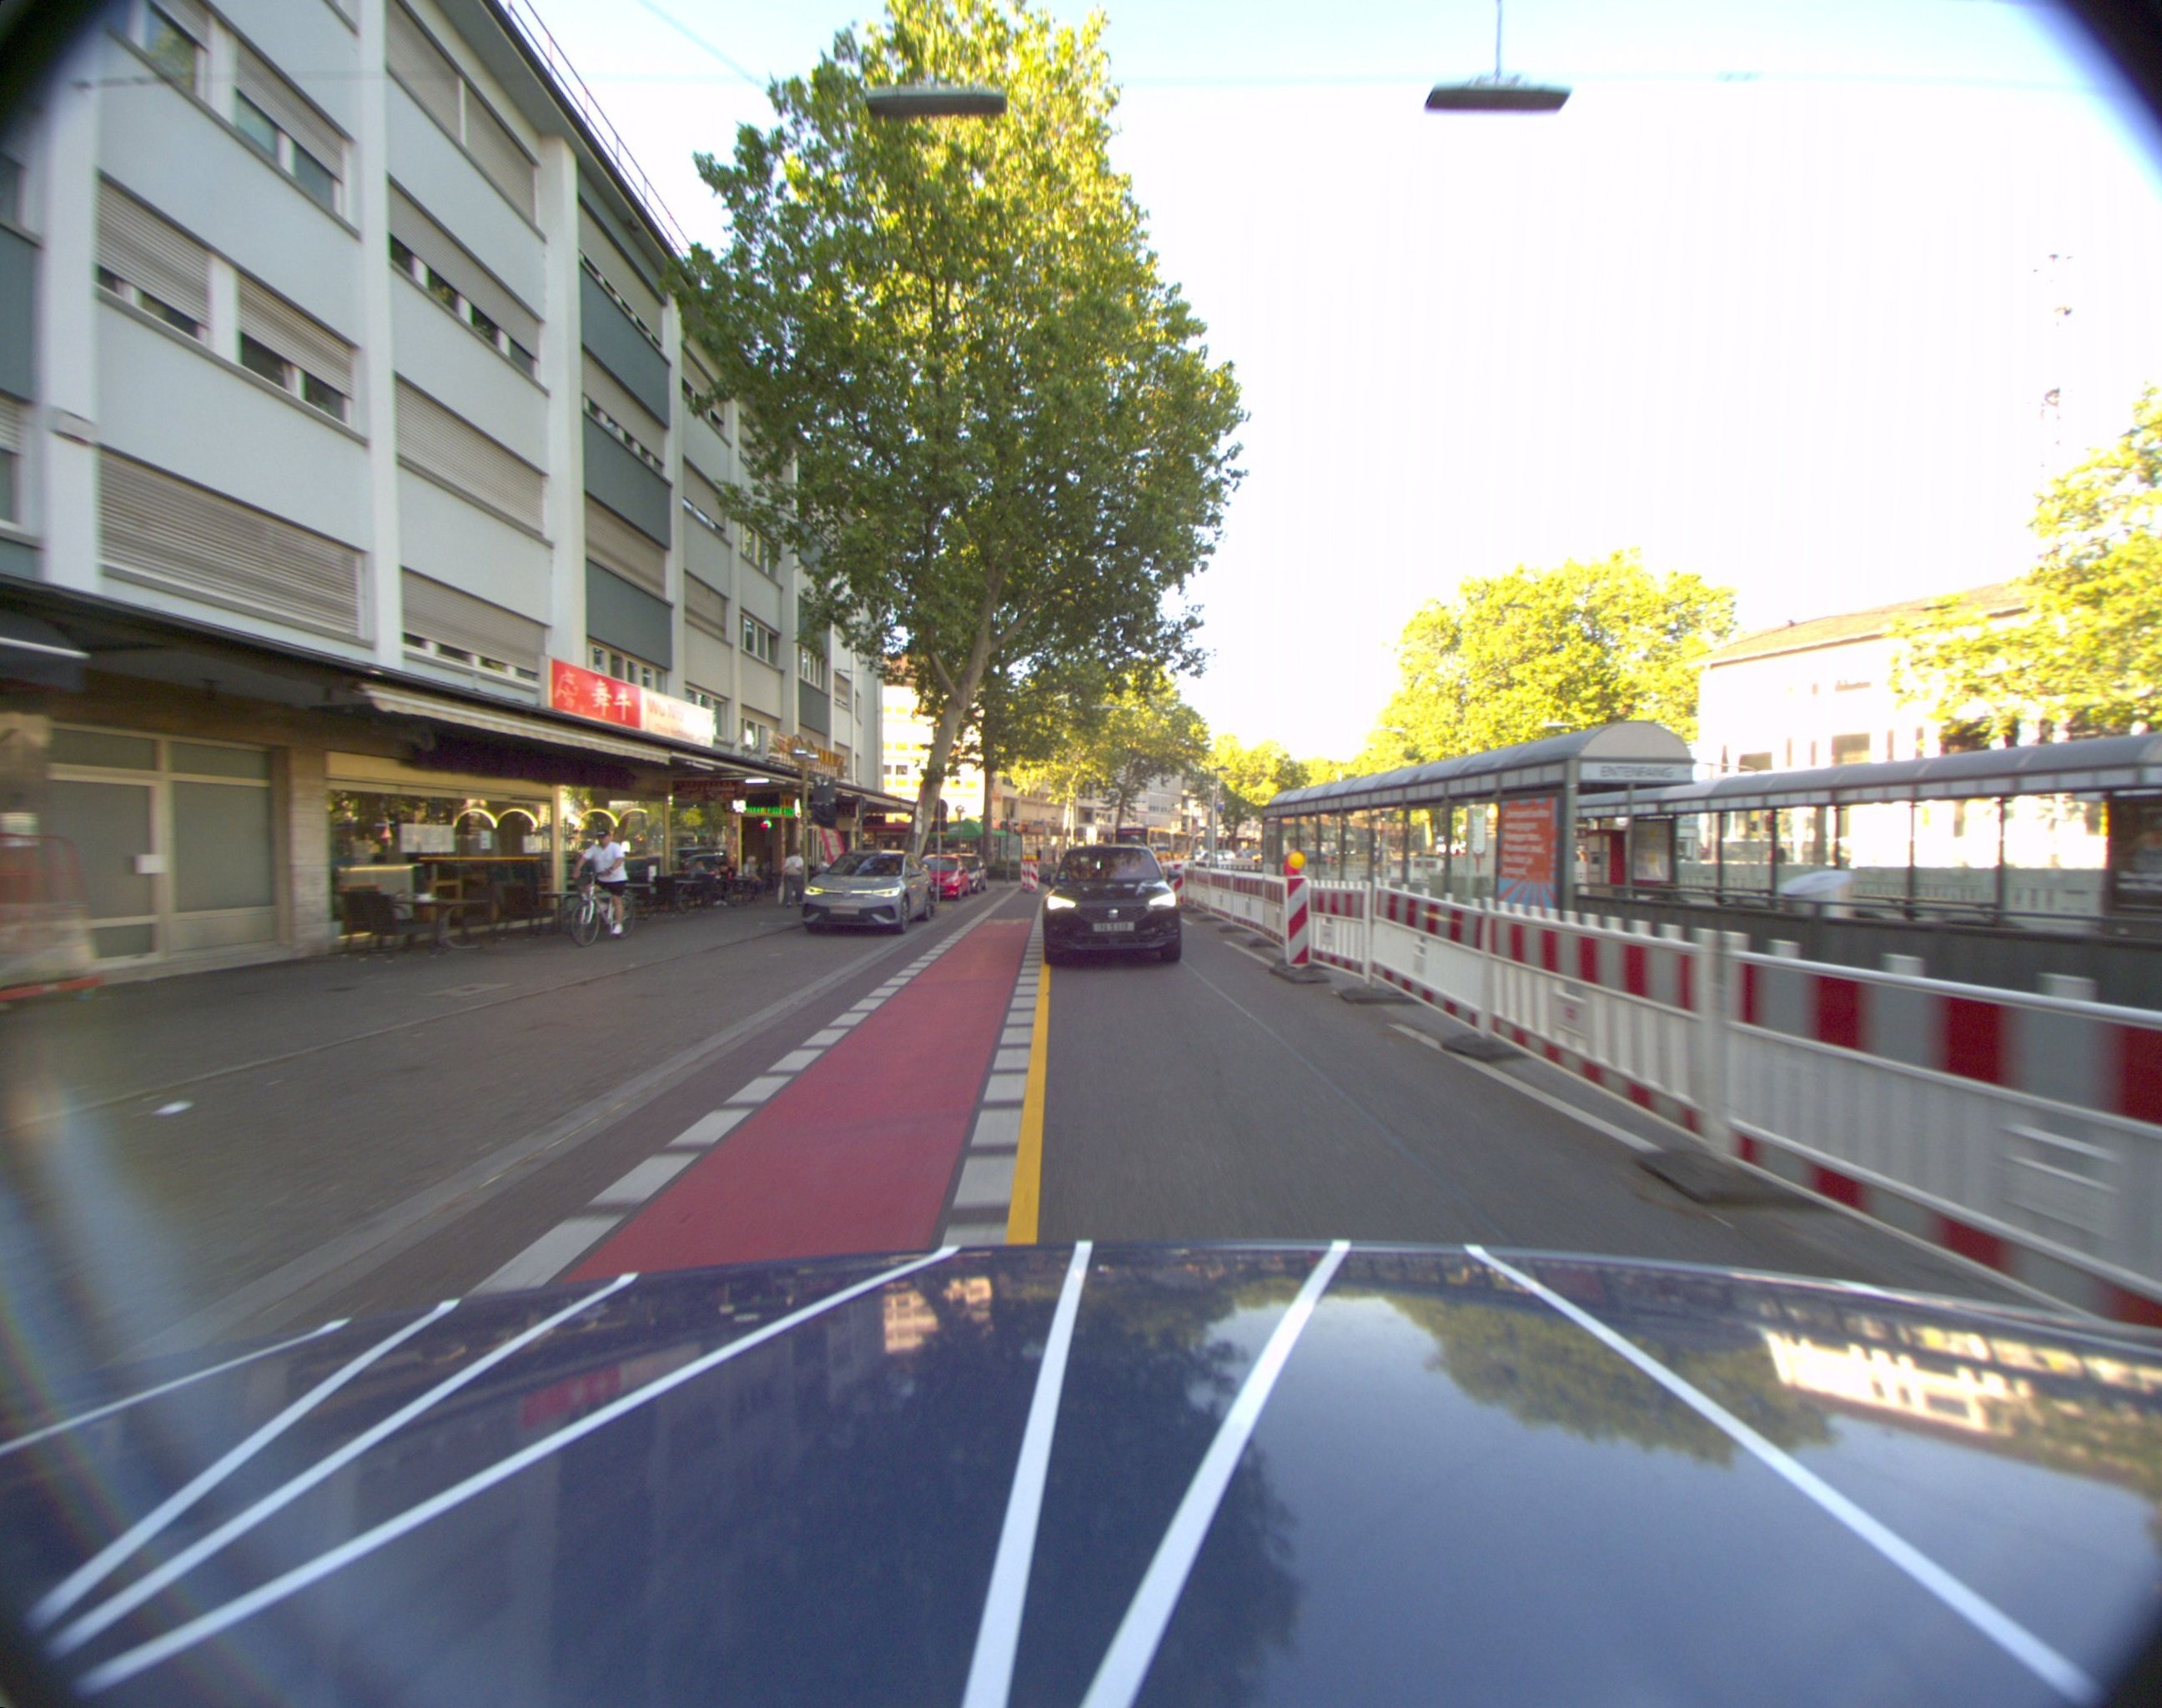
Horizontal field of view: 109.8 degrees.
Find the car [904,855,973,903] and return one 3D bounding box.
[{"bbox_3d":[-4.698,0.790,25.561,1.735,1.434,3.982,1,1,-2],"label":"car"}]

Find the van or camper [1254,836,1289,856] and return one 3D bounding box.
[{"bbox_3d":[24.224,-1.015,96.436,2.286,2.524,5.506,-1,1,37],"label":"van or camper"}]

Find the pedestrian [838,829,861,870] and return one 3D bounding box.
[{"bbox_3d":[-9.563,-0.189,31.414,0.710,1.699,0.678,0,1,0],"label":"pedestrian"}]

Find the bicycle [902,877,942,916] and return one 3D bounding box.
[{"bbox_3d":[-4.223,1.106,20.301,0.625,0.879,2.039,2,1,0],"label":"bicycle"}]

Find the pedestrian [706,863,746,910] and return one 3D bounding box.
[{"bbox_3d":[-9.137,0.830,19.569,0.677,1.170,0.710,1,1,0],"label":"pedestrian"}]

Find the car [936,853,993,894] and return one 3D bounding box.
[{"bbox_3d":[-4.535,0.723,30.056,1.659,1.471,3.801,1,1,0],"label":"car"}]

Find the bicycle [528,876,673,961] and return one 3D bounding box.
[{"bbox_3d":[-7.433,0.949,11.926,0.778,1.097,2.267,2,1,2],"label":"bicycle"}]

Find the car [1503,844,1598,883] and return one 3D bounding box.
[{"bbox_3d":[23.223,0.411,37.775,1.999,1.805,3.997,-1,1,-5],"label":"car"}]

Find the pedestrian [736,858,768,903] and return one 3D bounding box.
[{"bbox_3d":[-9.305,0.737,21.512,0.646,1.258,0.606,1,1,0],"label":"pedestrian"}]

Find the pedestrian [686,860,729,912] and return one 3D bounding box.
[{"bbox_3d":[-9.157,0.774,18.642,0.677,1.220,0.710,1,1,2],"label":"pedestrian"}]

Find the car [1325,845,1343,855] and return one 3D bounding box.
[{"bbox_3d":[39.329,-0.603,117.936,1.702,1.578,3.714,0,1,34],"label":"car"}]

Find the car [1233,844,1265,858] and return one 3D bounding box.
[{"bbox_3d":[19.488,-0.383,88.130,1.994,1.587,4.571,0,1,36],"label":"car"}]

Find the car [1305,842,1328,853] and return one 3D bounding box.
[{"bbox_3d":[34.033,-0.947,109.811,1.994,1.586,4.008,0,0,35],"label":"car"}]

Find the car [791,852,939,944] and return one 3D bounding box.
[{"bbox_3d":[-4.306,0.790,15.971,1.923,1.588,4.789,1,0,-2],"label":"car"}]

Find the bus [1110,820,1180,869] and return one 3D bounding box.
[{"bbox_3d":[4.994,-0.668,56.448,2.735,3.188,12.321,-2,0,16],"label":"bus"}]

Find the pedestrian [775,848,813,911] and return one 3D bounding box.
[{"bbox_3d":[-7.389,0.638,19.577,0.710,1.576,0.678,1,1,-1],"label":"pedestrian"}]

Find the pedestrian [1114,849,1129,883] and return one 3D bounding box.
[{"bbox_3d":[1.844,0.553,34.703,0.623,1.551,0.471,-1,1,-1],"label":"pedestrian"}]

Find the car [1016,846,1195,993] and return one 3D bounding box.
[{"bbox_3d":[0.409,0.738,10.789,1.998,1.638,4.205,-2,0,4],"label":"car"}]

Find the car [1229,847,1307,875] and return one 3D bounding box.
[{"bbox_3d":[12.199,0.440,49.684,4.424,1.638,2.004,3,1,36],"label":"car"}]

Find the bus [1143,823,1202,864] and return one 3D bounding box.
[{"bbox_3d":[8.316,-0.889,67.238,2.734,3.188,12.378,-2,0,18],"label":"bus"}]

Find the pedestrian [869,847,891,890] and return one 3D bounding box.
[{"bbox_3d":[-7.422,0.511,28.066,0.584,1.551,0.642,2,1,2],"label":"pedestrian"}]

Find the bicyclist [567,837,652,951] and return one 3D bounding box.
[{"bbox_3d":[-7.411,0.604,11.970,0.771,1.699,0.830,2,1,1],"label":"bicyclist"}]

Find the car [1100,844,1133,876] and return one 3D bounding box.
[{"bbox_3d":[1.979,0.298,41.241,1.609,1.618,3.679,-1,1,5],"label":"car"}]

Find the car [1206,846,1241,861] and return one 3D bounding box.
[{"bbox_3d":[15.363,-0.099,81.783,1.994,1.587,4.570,0,1,36],"label":"car"}]

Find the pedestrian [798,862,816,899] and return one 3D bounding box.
[{"bbox_3d":[-8.583,0.811,23.804,0.520,1.127,0.507,0,1,-21],"label":"pedestrian"}]
